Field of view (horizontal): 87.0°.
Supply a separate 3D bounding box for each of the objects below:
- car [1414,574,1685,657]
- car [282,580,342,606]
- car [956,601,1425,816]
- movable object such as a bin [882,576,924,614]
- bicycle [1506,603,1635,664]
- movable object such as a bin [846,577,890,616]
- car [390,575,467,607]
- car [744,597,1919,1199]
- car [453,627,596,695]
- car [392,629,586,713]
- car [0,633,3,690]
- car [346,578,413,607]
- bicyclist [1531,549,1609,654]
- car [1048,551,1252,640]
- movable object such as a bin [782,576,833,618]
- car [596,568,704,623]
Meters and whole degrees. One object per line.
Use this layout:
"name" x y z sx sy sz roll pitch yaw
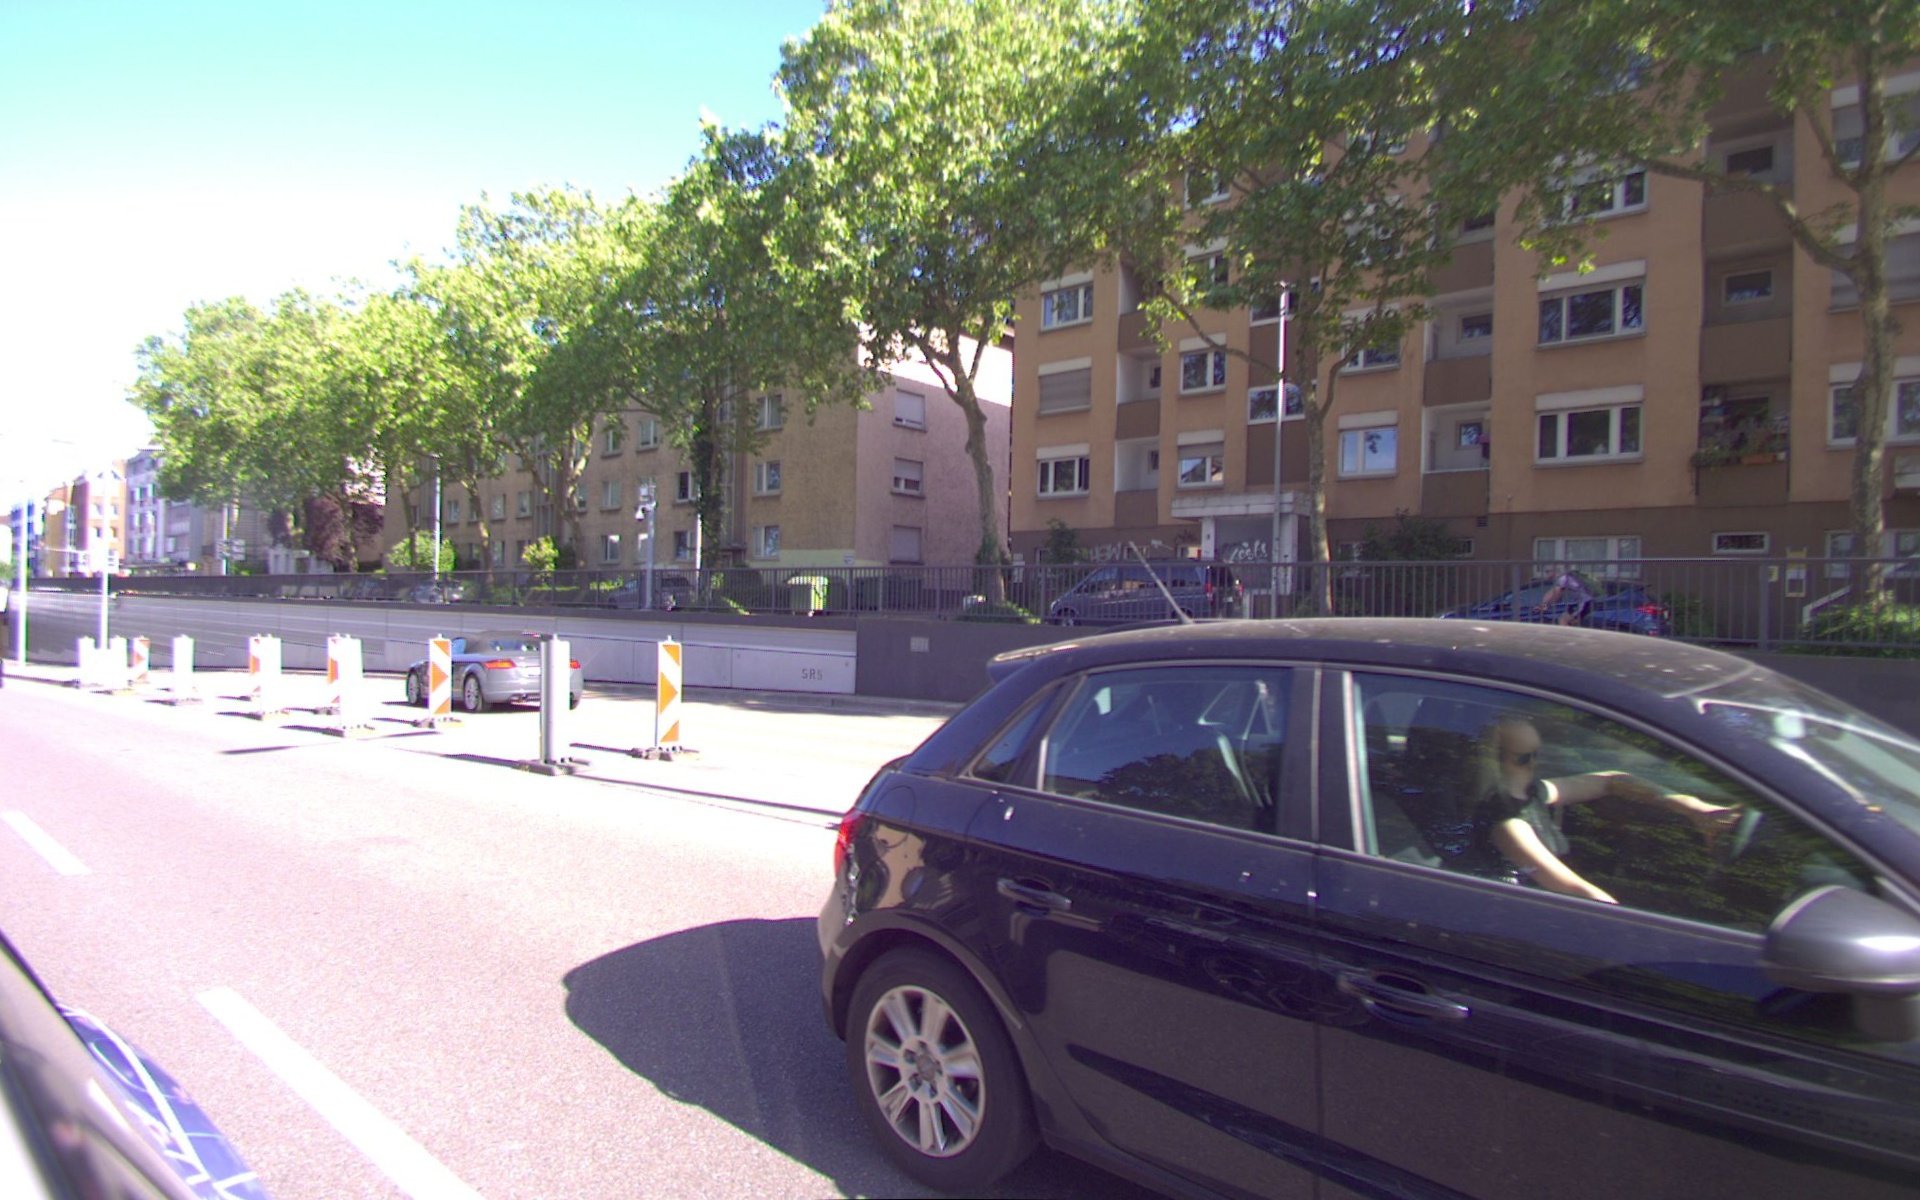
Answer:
"car" 11.082 0.246 19.157 4.169 1.399 1.973 0 1 41
"car" -40.591 -0.410 63.368 4.299 1.596 1.902 0 0 39
"car" 1.867 0.805 8.724 3.605 1.469 1.592 -1 -4 40
"movable object such as a bin" -2.289 -0.187 40.741 1.146 1.495 1.301 0 0 38
"bicycle" 9.994 0.529 16.588 1.755 0.934 0.650 0 0 38
"movable object such as a bin" -3.583 -0.152 39.555 1.146 1.495 1.301 0 0 38
"car" -27.186 -0.447 51.720 4.299 1.596 1.902 0 0 39
"car" 1.422 0.720 2.204 3.885 1.429 1.678 0 0 40
"car" -10.213 1.396 23.649 3.714 1.476 1.523 -1 -4 40
"car" -8.300 1.213 17.706 3.924 1.310 1.523 -2 -5 40
"car" -26.314 1.612 26.099 3.997 1.426 1.973 -2 -1 41
"car" -32.992 -0.439 57.471 4.299 1.596 1.902 0 0 39
"bicyclist" 9.994 0.023 16.573 1.021 1.645 0.767 0 0 37
"car" 4.564 -0.101 24.698 4.522 1.975 1.947 0 0 39
"movable object such as a bin" -5.491 -0.108 36.447 1.354 1.495 1.196 0 0 33
"car" -11.988 -0.168 39.043 4.411 1.975 1.945 0 0 41
